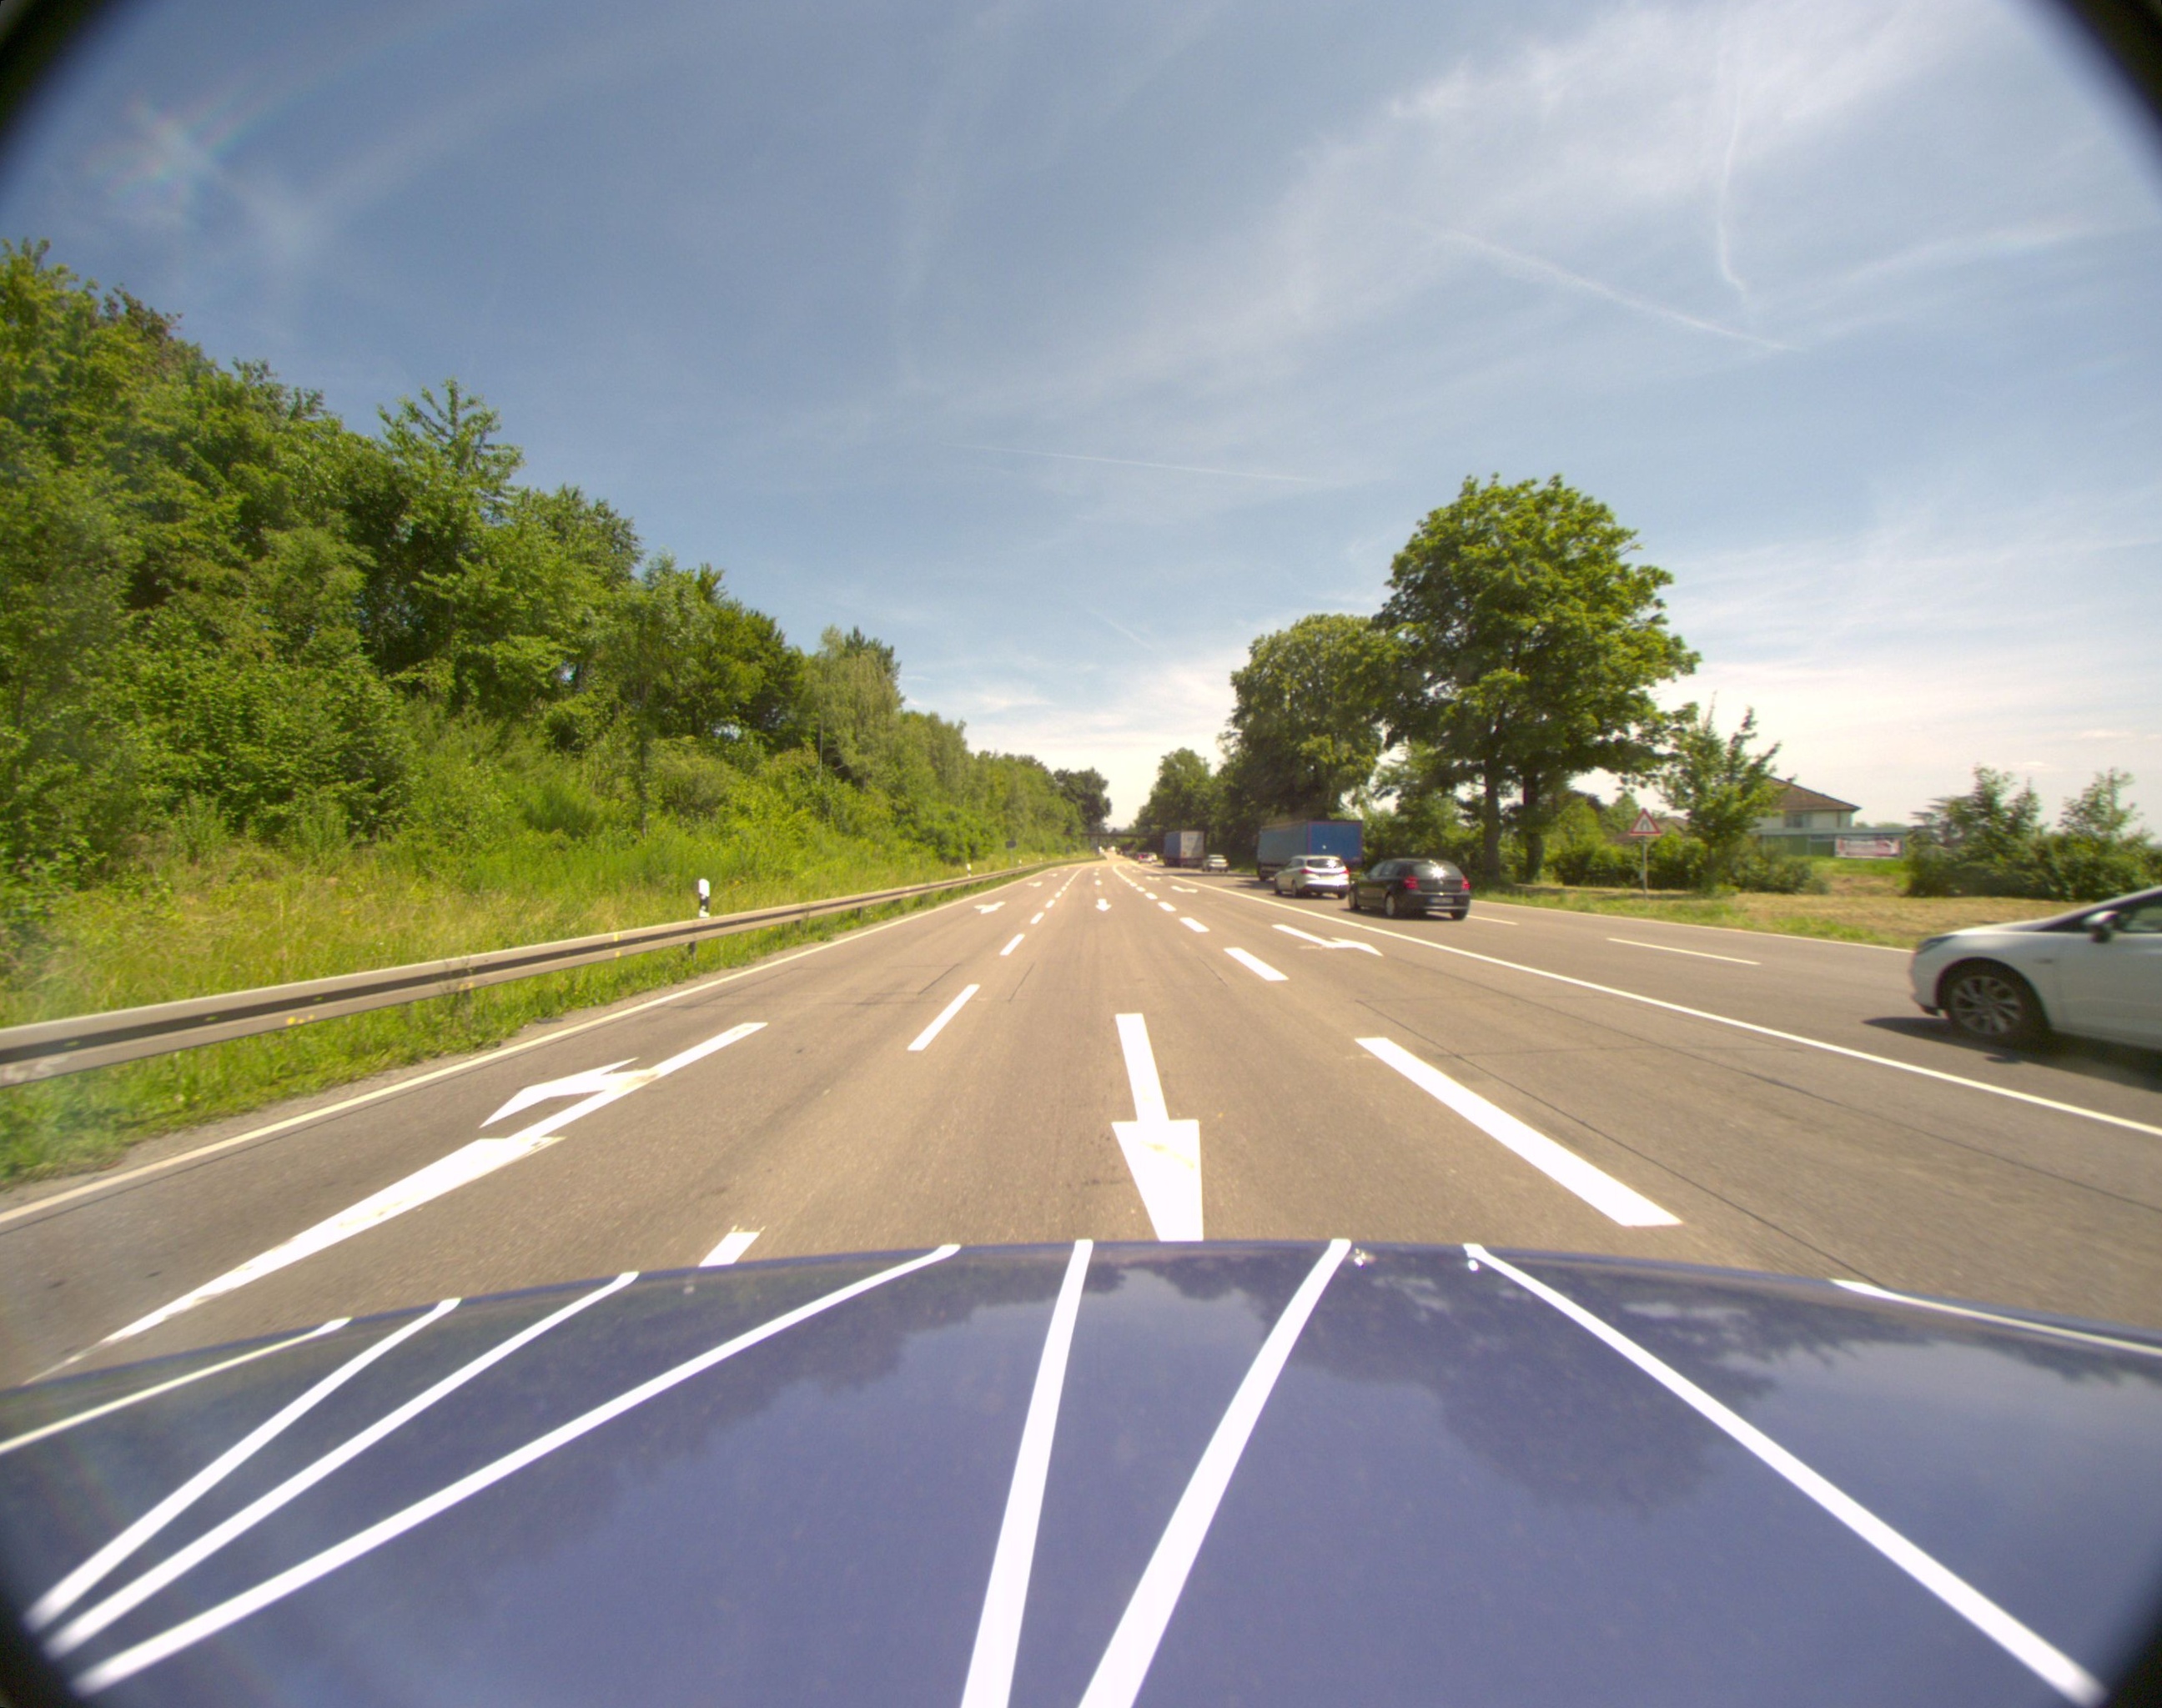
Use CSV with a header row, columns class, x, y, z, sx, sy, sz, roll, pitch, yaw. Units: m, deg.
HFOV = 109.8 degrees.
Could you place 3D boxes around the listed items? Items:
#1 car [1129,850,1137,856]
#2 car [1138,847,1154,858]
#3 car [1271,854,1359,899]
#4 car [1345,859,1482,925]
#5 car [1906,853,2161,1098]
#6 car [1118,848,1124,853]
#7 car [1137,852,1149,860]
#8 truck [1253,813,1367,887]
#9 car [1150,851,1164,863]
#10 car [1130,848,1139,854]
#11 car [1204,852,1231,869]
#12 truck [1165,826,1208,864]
class,x,y,z,sx,sy,sz,roll,pitch,yaw
car,13.198,-0.333,193.709,1.771,1.378,3.999,-2,1,1
car,9.536,-0.197,112.004,1.924,1.472,4.687,0,0,0
car,8.175,0.737,26.961,1.793,1.418,4.263,0,0,0
car,7.971,0.845,18.643,1.666,1.395,4.017,1,0,1
car,7.573,0.798,3.976,1.744,1.495,4.406,1,1,2
car,13.885,-1.195,263.325,1.907,1.500,3.765,1,0,4
car,11.168,0.348,137.419,1.704,1.407,4.562,-1,1,0
truck,11.744,-0.244,40.340,2.853,3.332,11.481,-1,1,2
car,12.533,0.531,125.637,1.998,1.892,4.000,0,0,2
car,11.959,-0.692,169.696,1.646,1.430,4.016,-2,0,-1
car,12.173,0.558,68.114,1.765,1.419,4.180,1,0,2
truck,12.348,-1.016,90.593,2.975,4.152,16.573,0,1,1
